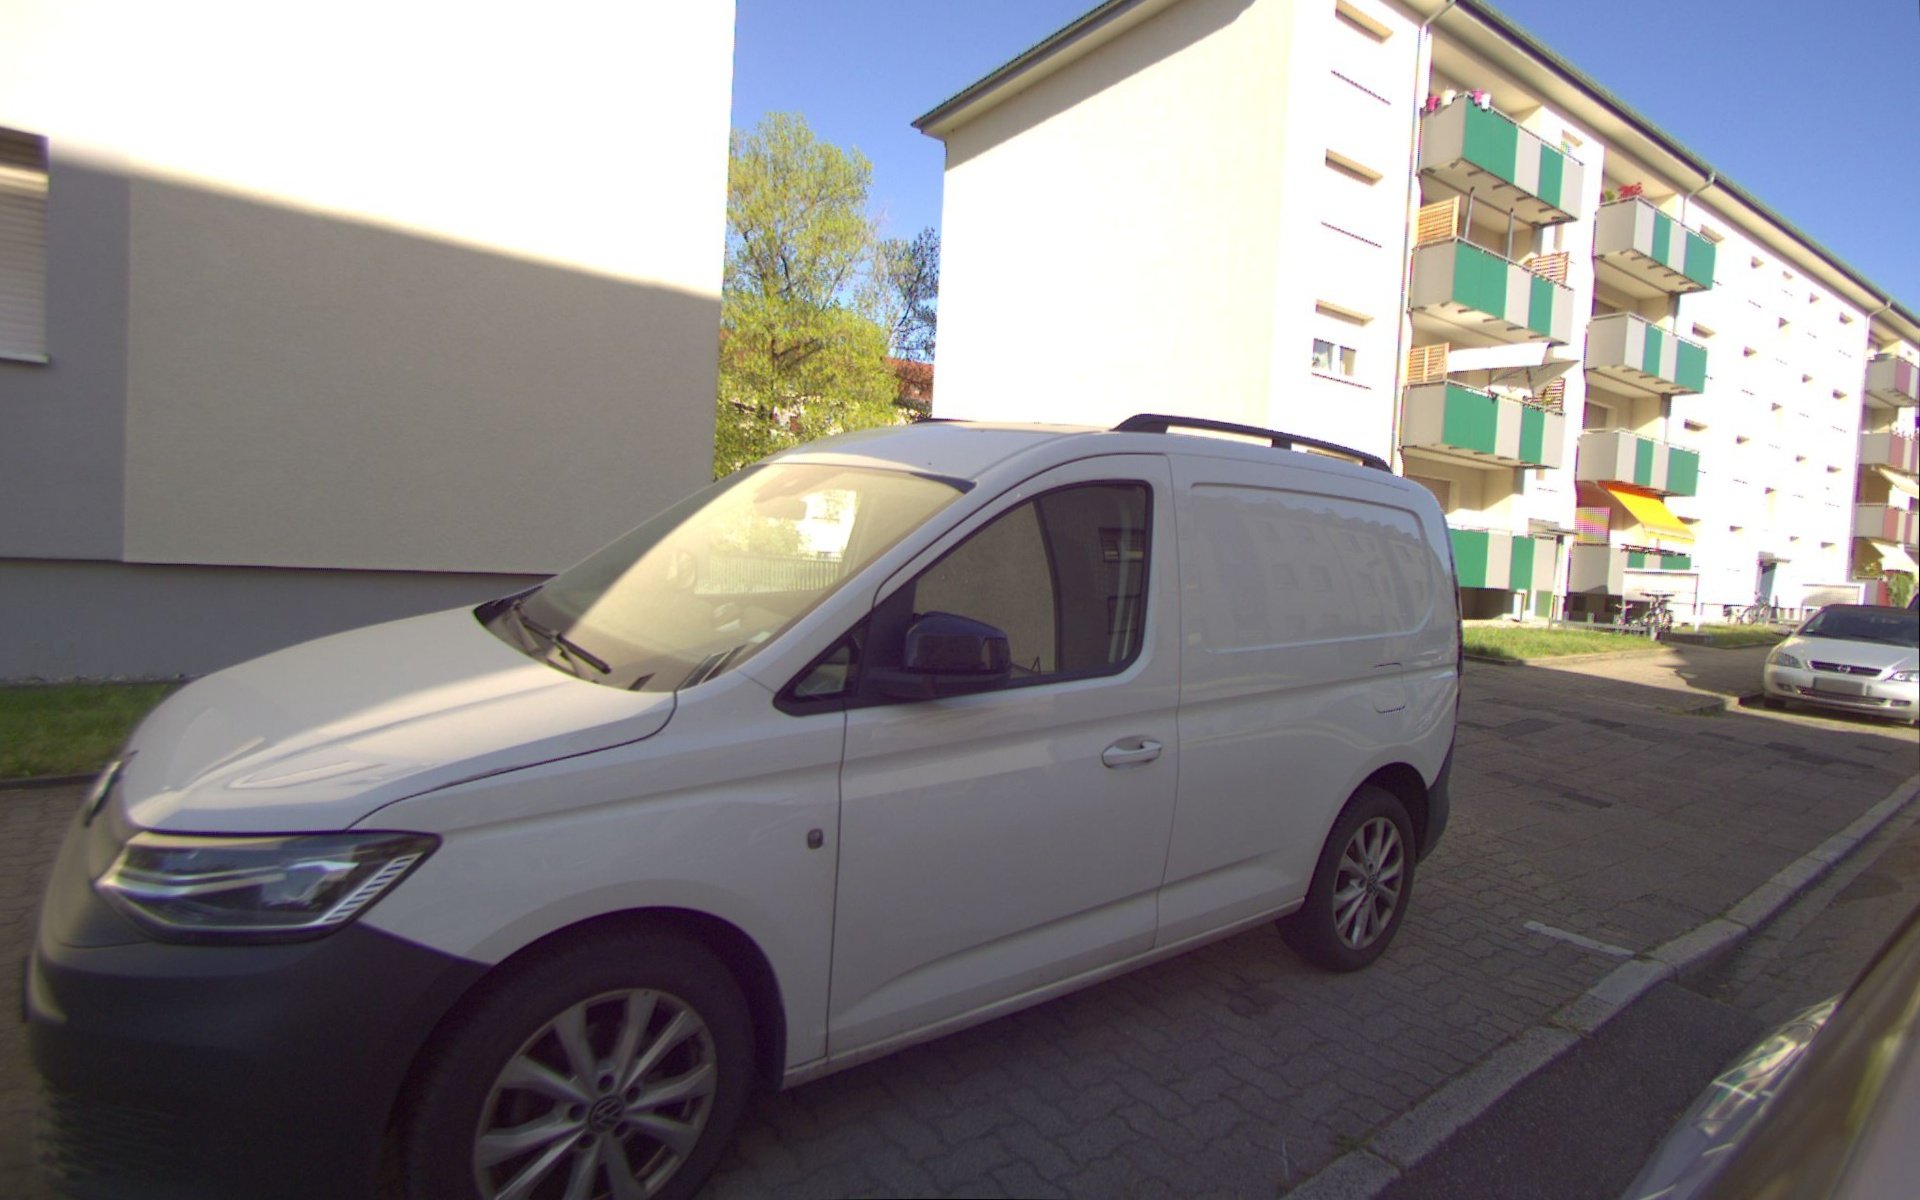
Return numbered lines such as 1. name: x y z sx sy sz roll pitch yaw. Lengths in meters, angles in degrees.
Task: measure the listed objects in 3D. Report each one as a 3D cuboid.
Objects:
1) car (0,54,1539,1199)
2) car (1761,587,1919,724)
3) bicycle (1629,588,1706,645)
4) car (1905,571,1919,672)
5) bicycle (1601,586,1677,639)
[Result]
1. car: -0.120 0.195 3.289 4.456 1.867 1.804 1 6 -39
2. car: 12.124 0.643 13.263 4.239 1.423 1.746 0 5 -42
3. bicycle: 14.572 0.338 20.821 2.033 1.106 0.507 1 2 -32
4. car: 20.275 0.490 19.918 4.832 1.861 1.764 0 5 -40
5. bicycle: 14.319 0.263 21.318 2.033 1.057 0.507 1 2 -32
